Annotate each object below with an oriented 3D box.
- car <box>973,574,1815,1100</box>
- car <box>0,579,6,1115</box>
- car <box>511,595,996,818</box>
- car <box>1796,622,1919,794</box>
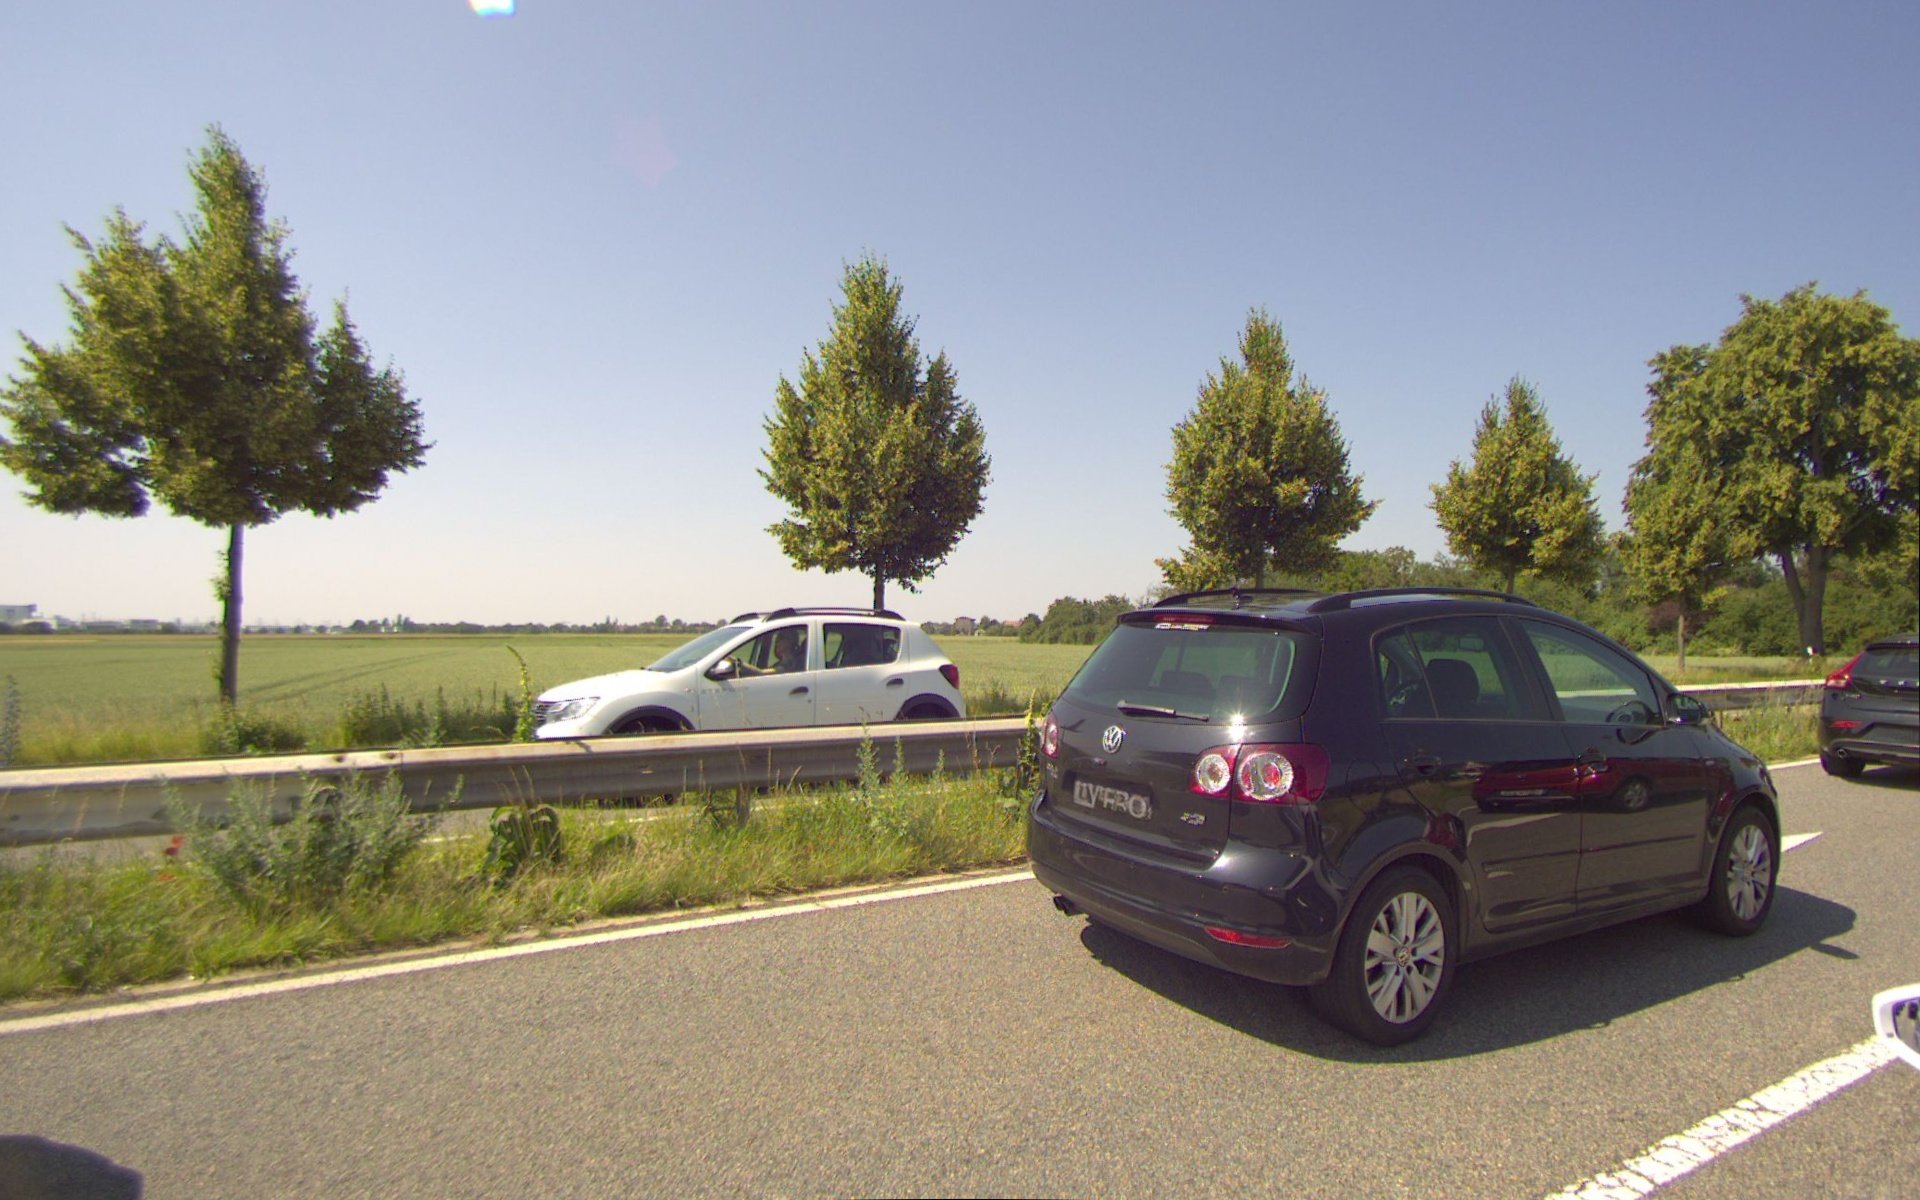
[{"bbox_3d":[2.146,0.747,4.764,3.846,1.597,1.715,1,0,-30],"label":"car"},{"bbox_3d":[-4.134,0.671,0.989,4.312,1.523,1.737,1,0,-31],"label":"car"},{"bbox_3d":[-1.822,0.843,9.330,4.091,1.660,1.735,1,-2,-33],"label":"car"},{"bbox_3d":[9.978,0.962,9.685,3.908,1.461,1.694,1,0,-30],"label":"car"}]
